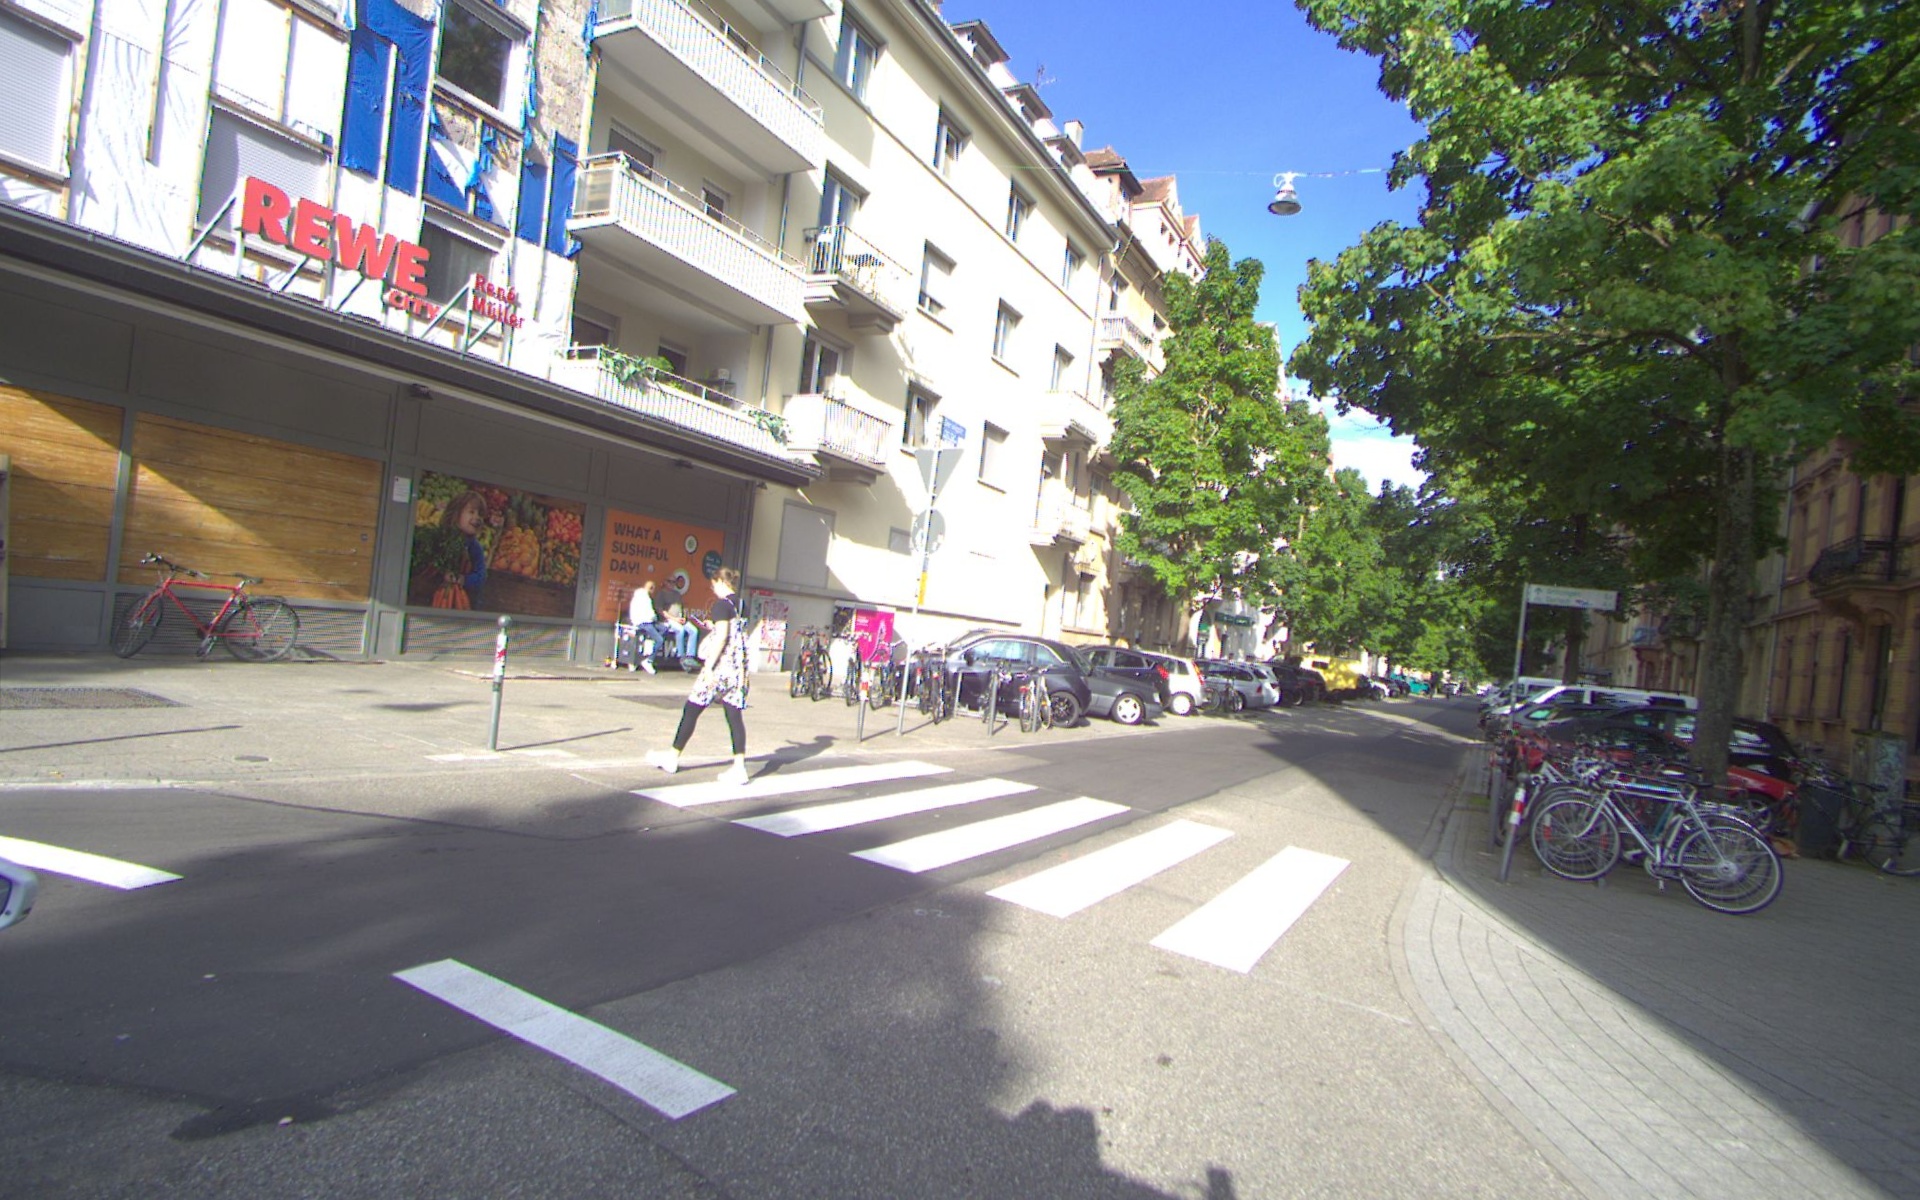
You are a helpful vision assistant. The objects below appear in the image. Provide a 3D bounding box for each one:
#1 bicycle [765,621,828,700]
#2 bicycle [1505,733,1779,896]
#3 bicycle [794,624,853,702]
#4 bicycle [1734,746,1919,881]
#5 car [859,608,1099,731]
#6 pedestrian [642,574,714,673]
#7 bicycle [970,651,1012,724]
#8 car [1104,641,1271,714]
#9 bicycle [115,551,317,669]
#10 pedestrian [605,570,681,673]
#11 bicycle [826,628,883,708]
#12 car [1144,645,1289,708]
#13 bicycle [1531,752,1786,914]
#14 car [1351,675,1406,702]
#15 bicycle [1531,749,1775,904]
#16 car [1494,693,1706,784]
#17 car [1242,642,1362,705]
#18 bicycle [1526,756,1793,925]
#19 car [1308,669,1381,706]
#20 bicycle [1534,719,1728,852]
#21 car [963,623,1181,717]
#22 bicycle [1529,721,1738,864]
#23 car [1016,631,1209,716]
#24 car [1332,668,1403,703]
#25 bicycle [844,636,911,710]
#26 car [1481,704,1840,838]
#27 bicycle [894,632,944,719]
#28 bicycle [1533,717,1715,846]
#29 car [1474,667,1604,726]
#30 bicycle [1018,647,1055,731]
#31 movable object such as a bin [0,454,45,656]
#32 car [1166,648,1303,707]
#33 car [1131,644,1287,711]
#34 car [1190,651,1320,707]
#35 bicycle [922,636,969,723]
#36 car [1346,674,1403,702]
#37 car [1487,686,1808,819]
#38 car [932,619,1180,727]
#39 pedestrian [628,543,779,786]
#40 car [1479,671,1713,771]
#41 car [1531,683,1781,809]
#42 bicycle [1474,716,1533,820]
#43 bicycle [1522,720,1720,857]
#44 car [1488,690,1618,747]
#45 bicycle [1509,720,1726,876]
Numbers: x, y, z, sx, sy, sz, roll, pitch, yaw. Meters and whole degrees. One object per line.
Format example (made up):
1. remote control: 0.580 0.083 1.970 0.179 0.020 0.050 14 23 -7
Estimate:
1. bicycle: -2.502 0.903 15.568 0.413 1.099 1.699 7 0 6
2. bicycle: 6.313 1.941 9.420 2.018 1.102 0.446 4 -1 42
3. bicycle: -2.111 0.952 15.727 0.413 1.099 1.699 7 0 6
4. bicycle: 9.425 2.260 10.691 1.771 1.127 0.598 4 0 33
5. car: 0.344 1.190 18.057 3.926 1.473 1.810 9 1 2
6. pedestrian: -4.659 0.400 16.628 0.740 1.524 0.667 7 0 26
7. bicycle: 0.509 1.374 16.094 0.483 1.013 1.424 8 -1 4
8. car: 6.812 2.320 30.483 4.544 1.513 1.751 8 -1 1
9. bicycle: -7.769 0.127 10.566 0.574 1.045 1.530 8 0 38
10. pedestrian: -5.023 0.353 15.970 0.656 1.524 0.753 7 0 23
11. bicycle: -1.615 1.026 15.637 0.413 1.099 1.699 7 0 6
12. car: 8.993 2.684 35.586 4.544 1.513 1.751 8 -1 1
13. bicycle: 5.916 1.933 8.594 1.689 0.999 0.446 4 -1 42
14. car: 34.457 7.295 82.956 3.776 1.657 1.737 8 -1 11
15. bicycle: 6.136 1.965 8.974 1.689 0.999 0.446 4 -1 42
16. car: 13.590 2.916 21.594 3.647 1.474 1.668 3 -4 31
17. car: 16.169 3.463 47.687 4.724 2.247 2.148 8 -1 -3
18. bicycle: 5.663 1.903 8.216 1.689 0.981 0.446 4 -1 42
19. car: 23.895 5.420 62.636 3.776 1.657 1.737 8 -1 11
20. bicycle: 7.558 2.069 11.407 1.681 1.216 0.448 5 0 21
21. car: 2.483 1.567 22.988 4.549 1.450 1.749 8 -1 -6
22. bicycle: 7.009 1.983 10.538 1.680 1.216 0.448 5 0 15
23. car: 3.793 1.834 25.658 4.544 1.450 1.751 8 -1 1
24. car: 26.939 5.640 66.575 3.777 1.657 1.736 8 -1 3
25. bicycle: -1.247 1.116 15.495 0.405 1.031 1.503 8 -1 16
26. car: 9.942 2.392 14.692 4.041 1.284 1.567 4 -3 27
27. bicycle: -0.614 1.120 15.454 0.405 1.190 1.854 8 -1 4
28. bicycle: 7.806 2.106 11.892 1.685 1.216 0.447 4 0 33
29. car: 29.024 4.833 50.584 5.389 2.226 1.998 6 -2 30
30. bicycle: 1.227 1.393 16.148 0.405 1.190 1.854 8 -1 4
31. movable object such as a bin: -8.993 -0.474 8.518 0.678 1.776 1.548 9 1 26
32. car: 10.297 2.883 37.919 4.544 1.513 1.751 8 -1 1
33. car: 8.115 2.514 33.034 4.544 1.513 1.751 8 -1 1
34. car: 11.704 3.129 40.161 4.544 1.513 1.751 8 -1 1
35. bicycle: -0.205 1.173 15.400 0.405 1.190 1.854 8 -1 4
36. car: 33.155 7.019 80.628 3.776 1.657 1.737 8 -1 11
37. car: 11.627 2.502 17.290 4.246 1.588 2.001 4 -2 35
38. car: 1.859 1.447 20.460 4.585 1.472 1.955 8 -1 -6
39. pedestrian: -2.031 0.503 8.048 0.827 1.774 0.614 7 0 3
40. car: 16.317 3.061 26.160 4.826 2.013 2.045 3 -2 26
41. car: 13.133 2.715 19.284 3.646 1.741 1.859 6 -2 31
42. bicycle: 7.120 2.137 13.154 0.572 1.109 2.496 3 -3 29
43. bicycle: 7.213 2.034 11.056 1.681 1.216 0.448 5 0 21
44. car: 24.354 4.818 41.505 4.381 1.855 1.935 3 -2 26
45. bicycle: 6.507 1.919 10.024 1.689 1.216 0.446 4 0 42
